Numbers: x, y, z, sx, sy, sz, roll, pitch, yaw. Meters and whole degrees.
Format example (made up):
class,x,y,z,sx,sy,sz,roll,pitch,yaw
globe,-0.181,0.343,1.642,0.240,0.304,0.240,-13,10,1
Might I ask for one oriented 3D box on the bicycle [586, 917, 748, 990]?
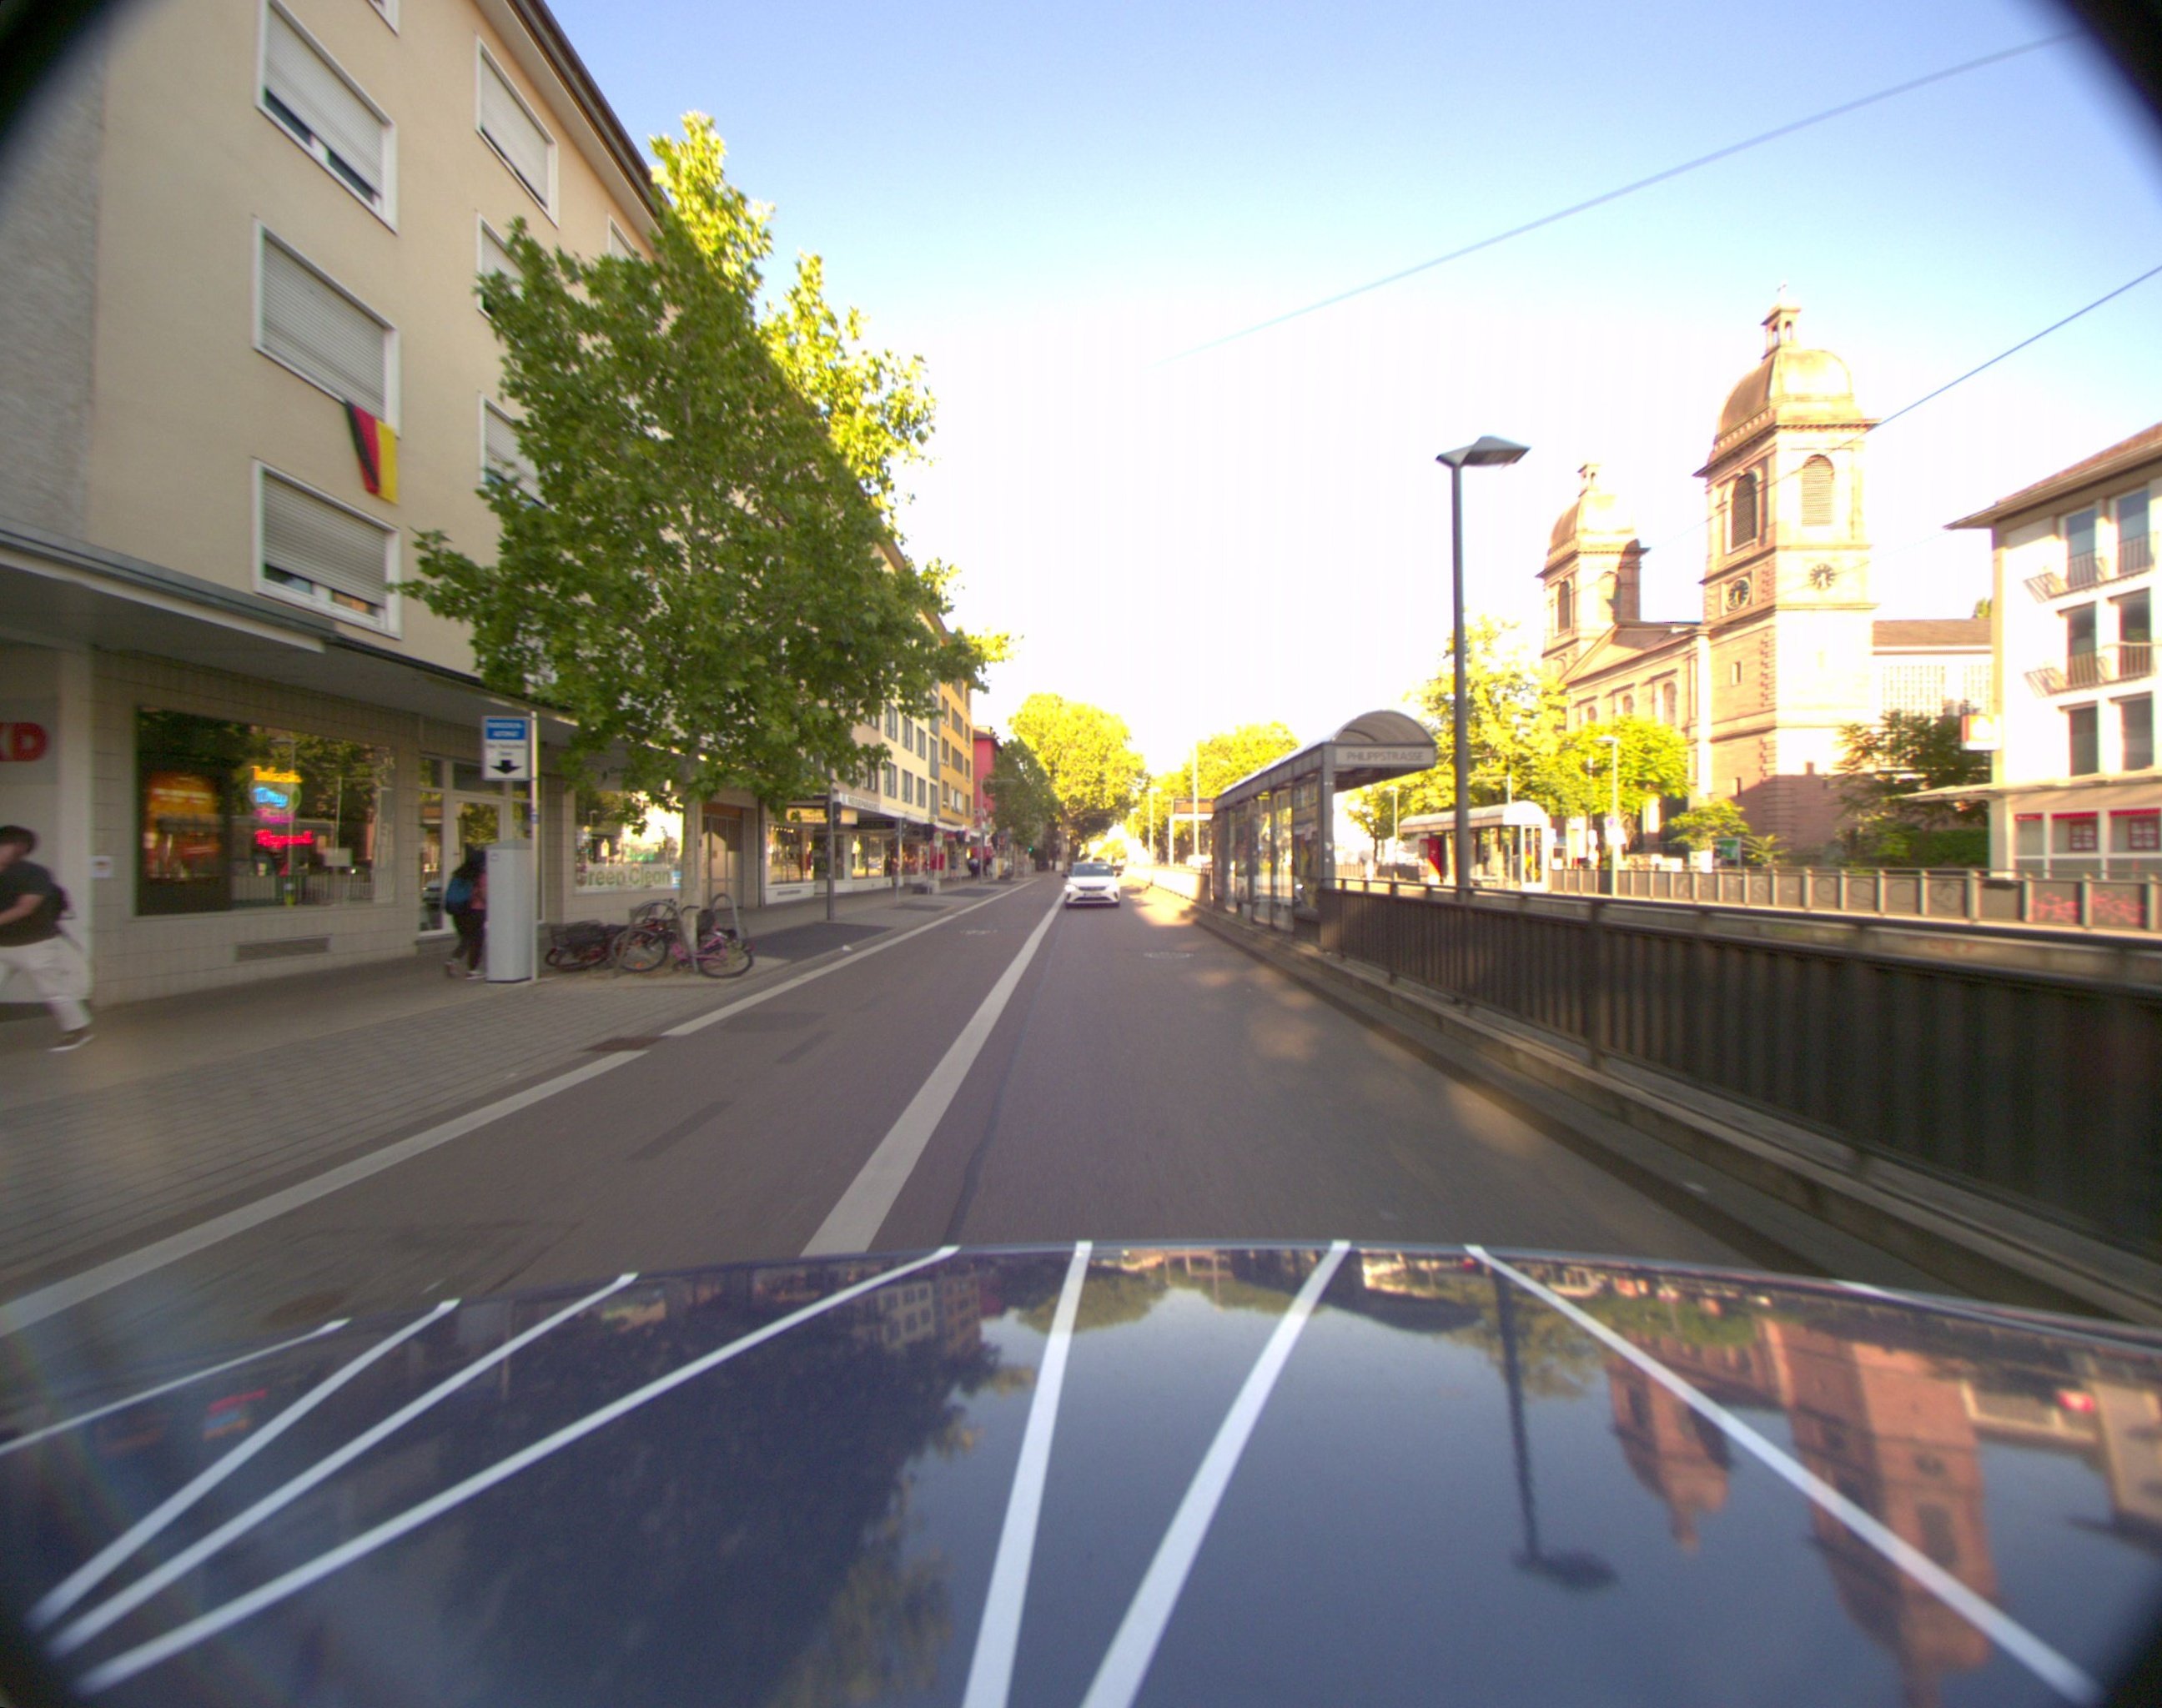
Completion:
class,x,y,z,sx,sy,sz,roll,pitch,yaw
bicycle,-5.243,1.242,9.748,1.763,0.773,0.702,0,0,-22

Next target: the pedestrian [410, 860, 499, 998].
class,x,y,z,sx,sy,sz,roll,pitch,yaw
pedestrian,-7.434,0.861,9.033,0.490,1.559,0.648,2,1,2

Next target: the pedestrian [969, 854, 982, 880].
class,x,y,z,sx,sy,sz,roll,pitch,yaw
pedestrian,-6.799,0.842,48.922,0.693,1.665,0.659,2,1,0

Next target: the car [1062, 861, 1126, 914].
class,x,y,z,sx,sy,sz,roll,pitch,yaw
car,0.396,0.985,23.923,1.826,1.433,3.827,-2,0,1

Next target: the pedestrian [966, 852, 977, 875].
class,x,y,z,sx,sy,sz,roll,pitch,yaw
pedestrian,-7.987,0.703,55.514,0.634,1.645,0.651,-2,1,0

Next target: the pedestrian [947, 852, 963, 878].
class,x,y,z,sx,sy,sz,roll,pitch,yaw
pedestrian,-8.109,0.707,48.948,0.851,1.645,0.915,-2,1,0

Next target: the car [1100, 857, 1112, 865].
class,x,y,z,sx,sy,sz,roll,pitch,yaw
car,4.676,1.264,141.629,1.719,1.390,3.998,-3,1,-4

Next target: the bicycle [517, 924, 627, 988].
class,x,y,z,sx,sy,sz,roll,pitch,yaw
bicycle,-6.504,1.276,9.807,0.840,0.569,1.757,0,0,-22

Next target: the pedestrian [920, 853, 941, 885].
class,x,y,z,sx,sy,sz,roll,pitch,yaw
pedestrian,-8.024,0.770,40.592,0.851,1.645,0.915,-2,1,0

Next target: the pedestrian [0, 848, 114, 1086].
class,x,y,z,sx,sy,sz,roll,pitch,yaw
pedestrian,-7.890,0.795,5.432,0.569,1.665,1.070,2,1,1

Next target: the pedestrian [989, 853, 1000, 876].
class,x,y,z,sx,sy,sz,roll,pitch,yaw
pedestrian,-6.533,0.797,57.390,0.634,1.645,0.651,-2,1,0
